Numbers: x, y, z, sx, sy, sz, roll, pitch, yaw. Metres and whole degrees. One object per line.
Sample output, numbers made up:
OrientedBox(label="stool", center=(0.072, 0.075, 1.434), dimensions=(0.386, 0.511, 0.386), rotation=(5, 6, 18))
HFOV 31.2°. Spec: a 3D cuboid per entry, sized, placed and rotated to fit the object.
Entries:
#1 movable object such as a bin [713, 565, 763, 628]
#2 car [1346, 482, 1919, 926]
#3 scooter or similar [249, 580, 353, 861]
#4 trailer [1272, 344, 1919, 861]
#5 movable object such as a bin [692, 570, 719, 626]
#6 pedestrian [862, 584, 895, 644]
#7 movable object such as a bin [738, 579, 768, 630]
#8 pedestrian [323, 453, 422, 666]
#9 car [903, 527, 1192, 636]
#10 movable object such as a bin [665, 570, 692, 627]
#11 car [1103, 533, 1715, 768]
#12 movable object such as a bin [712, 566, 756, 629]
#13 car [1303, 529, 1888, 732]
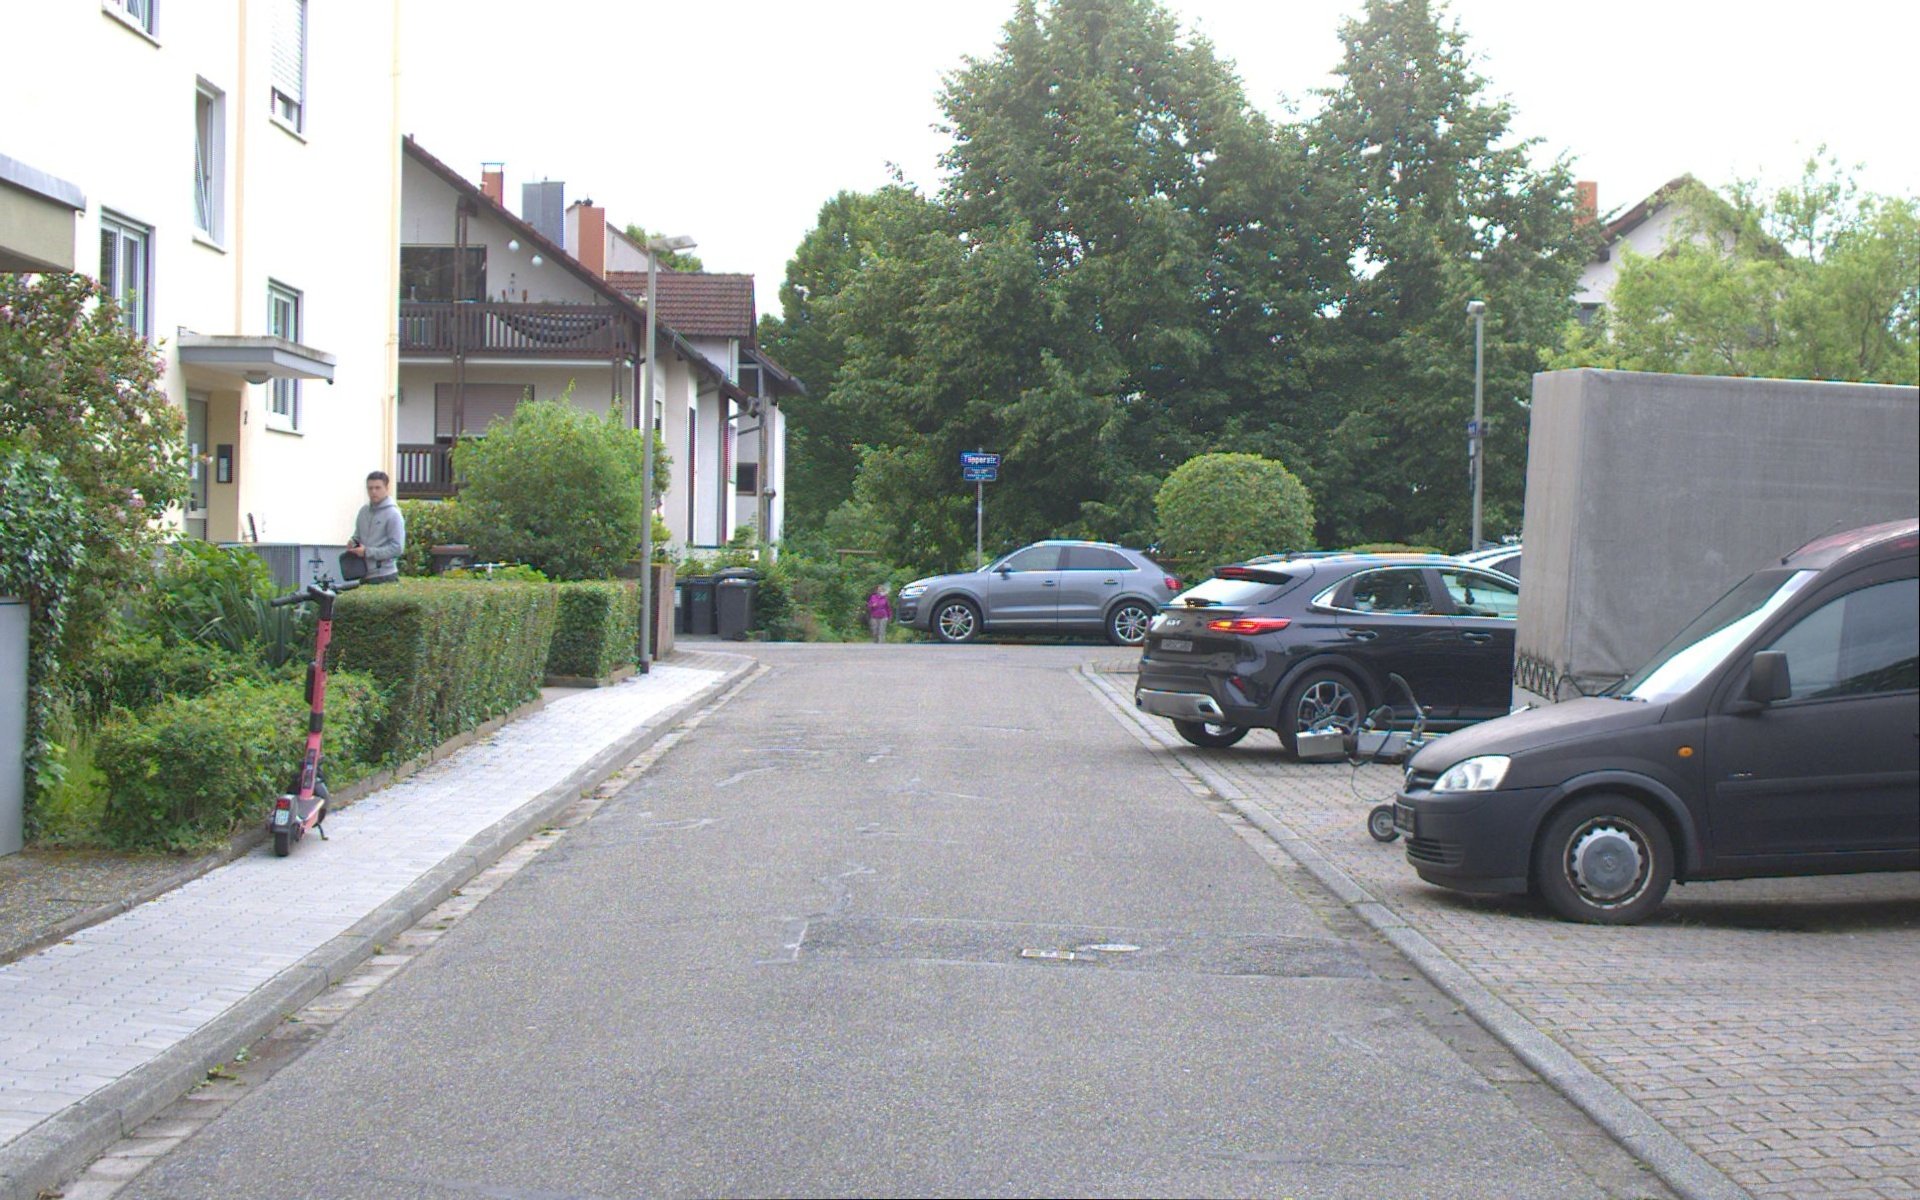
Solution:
OrientedBox(label="movable object such as a bin", center=(-3.506, -0.058, 54.271), dimensions=(0.733, 0.950, 0.584), rotation=(2, 1, -1))
OrientedBox(label="car", center=(4.021, 0.383, 15.345), dimensions=(4.310, 1.795, 2.000), rotation=(-1, 1, -1))
OrientedBox(label="scooter or similar", center=(-2.994, 0.527, 15.666), dimensions=(0.272, 1.206, 1.164), rotation=(1, 1, -1))
OrientedBox(label="trailer", center=(4.071, 0.011, 18.155), dimensions=(4.609, 2.516, 1.943), rotation=(1, 1, 0))
OrientedBox(label="movable object such as a bin", center=(-4.083, -0.038, 55.137), dimensions=(0.386, 0.886, 0.379), rotation=(2, 1, -3))
OrientedBox(label="pedestrian", center=(-2.075, 0.348, 87.239), dimensions=(0.815, 1.512, 0.438), rotation=(1, 0, -3))
OrientedBox(label="movable object such as a bin", center=(-3.346, 0.068, 55.520), dimensions=(0.459, 0.795, 0.379), rotation=(2, 1, -3))
OrientedBox(label="pedestrian", center=(-4.935, -0.343, 28.913), dimensions=(0.679, 1.743, 0.756), rotation=(2, 1, -2))
OrientedBox(label="car", center=(1.276, -0.263, 51.428), dimensions=(4.237, 1.526, 1.747), rotation=(1, -1, -1))
OrientedBox(label="movable object such as a bin", center=(-4.516, -0.022, 55.113), dimensions=(0.386, 0.898, 0.379), rotation=(2, 1, -3))
OrientedBox(label="car", center=(3.291, 0.319, 25.389), dimensions=(3.986, 1.546, 2.001), rotation=(-2, 1, -19))
OrientedBox(label="movable object such as a bin", center=(-3.518, -0.041, 53.529), dimensions=(0.638, 0.950, 0.723), rotation=(2, 1, -1))
OrientedBox(label="car", center=(5.234, 0.225, 28.802), dimensions=(4.537, 1.583, 1.988), rotation=(1, 1, 1))
